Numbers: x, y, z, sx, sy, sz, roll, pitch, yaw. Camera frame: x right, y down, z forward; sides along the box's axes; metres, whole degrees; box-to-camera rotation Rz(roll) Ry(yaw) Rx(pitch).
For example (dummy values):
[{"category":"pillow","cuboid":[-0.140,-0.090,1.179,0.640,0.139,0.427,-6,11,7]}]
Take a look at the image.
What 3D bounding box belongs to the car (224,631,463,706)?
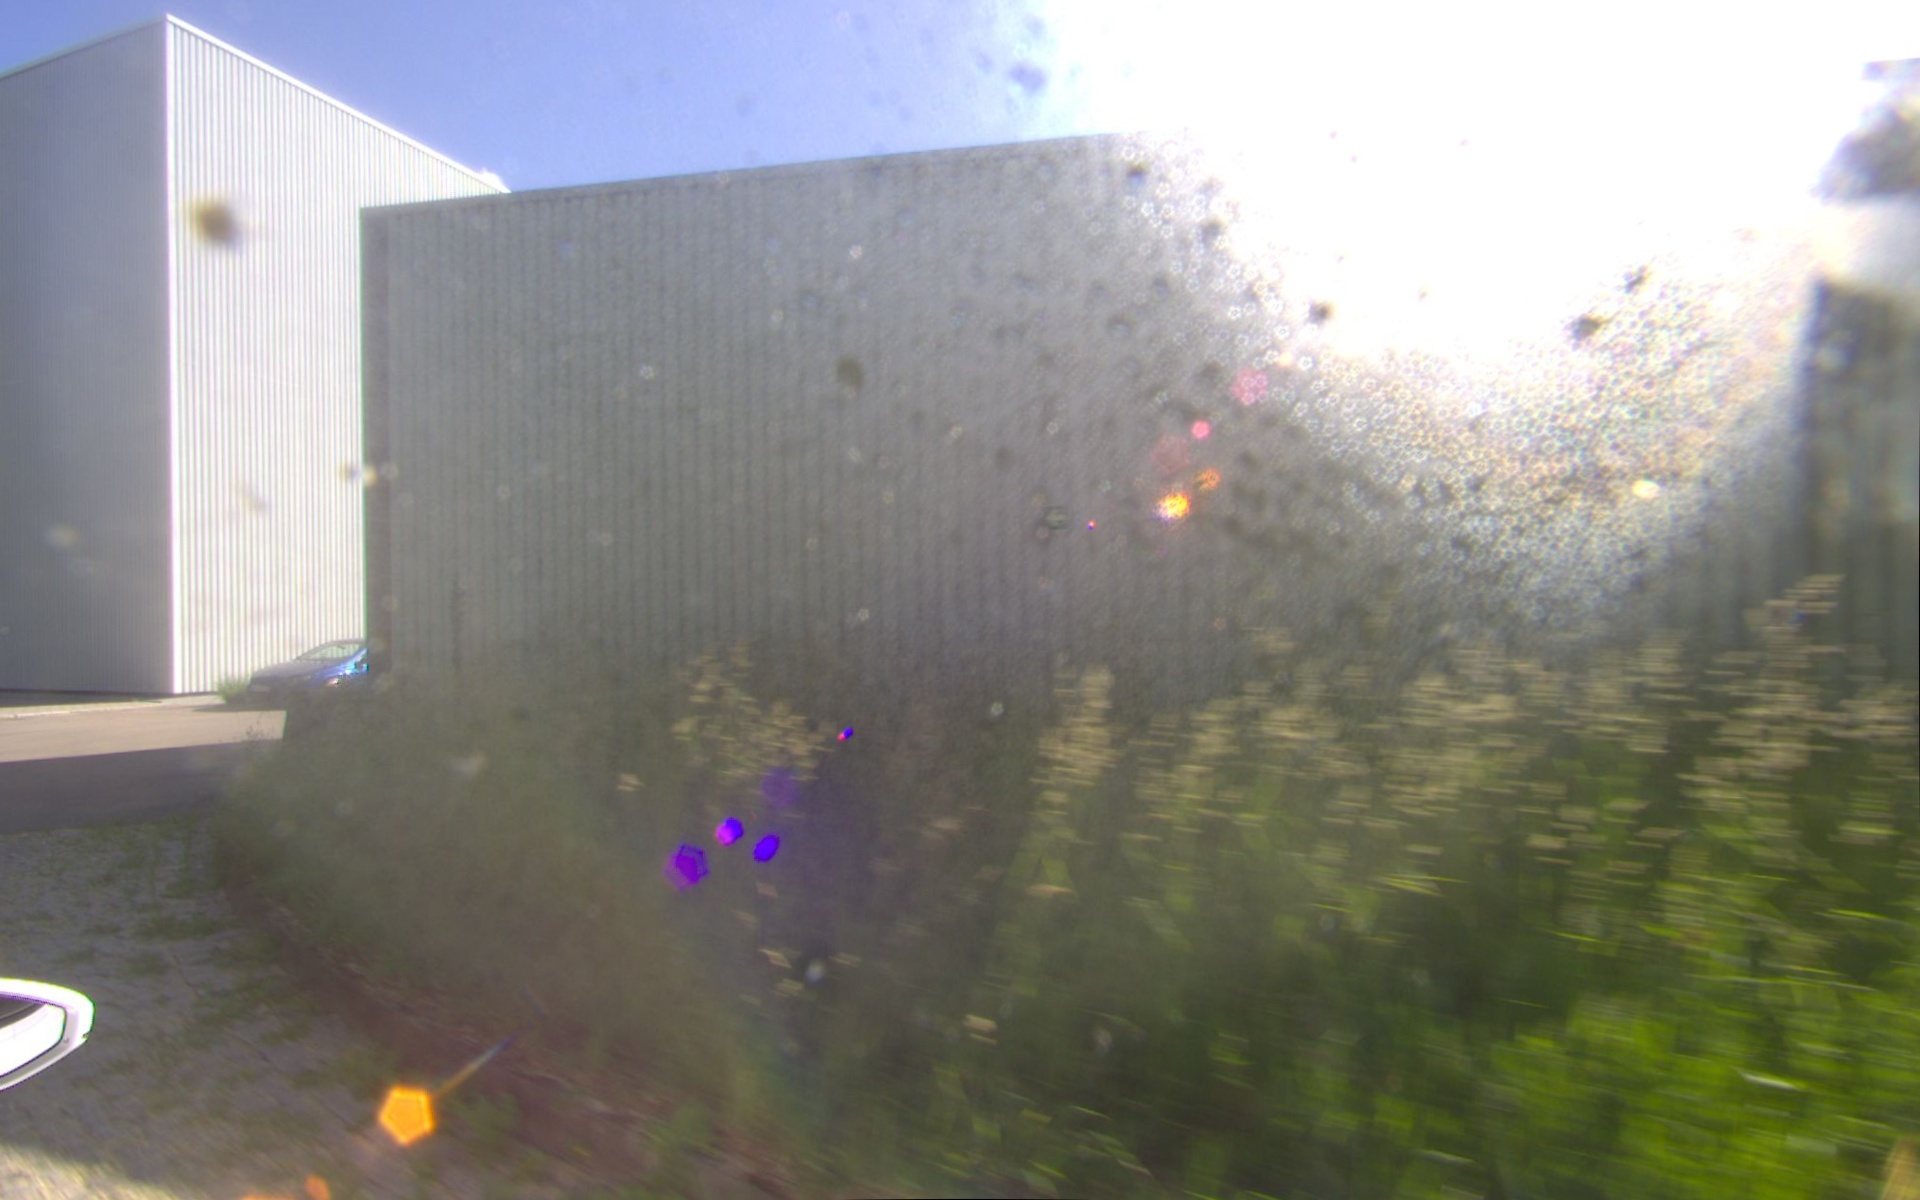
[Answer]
[{"category":"car","cuboid":[-12.871,1.365,21.235,1.724,1.402,4.162,0,-2,20]}]
